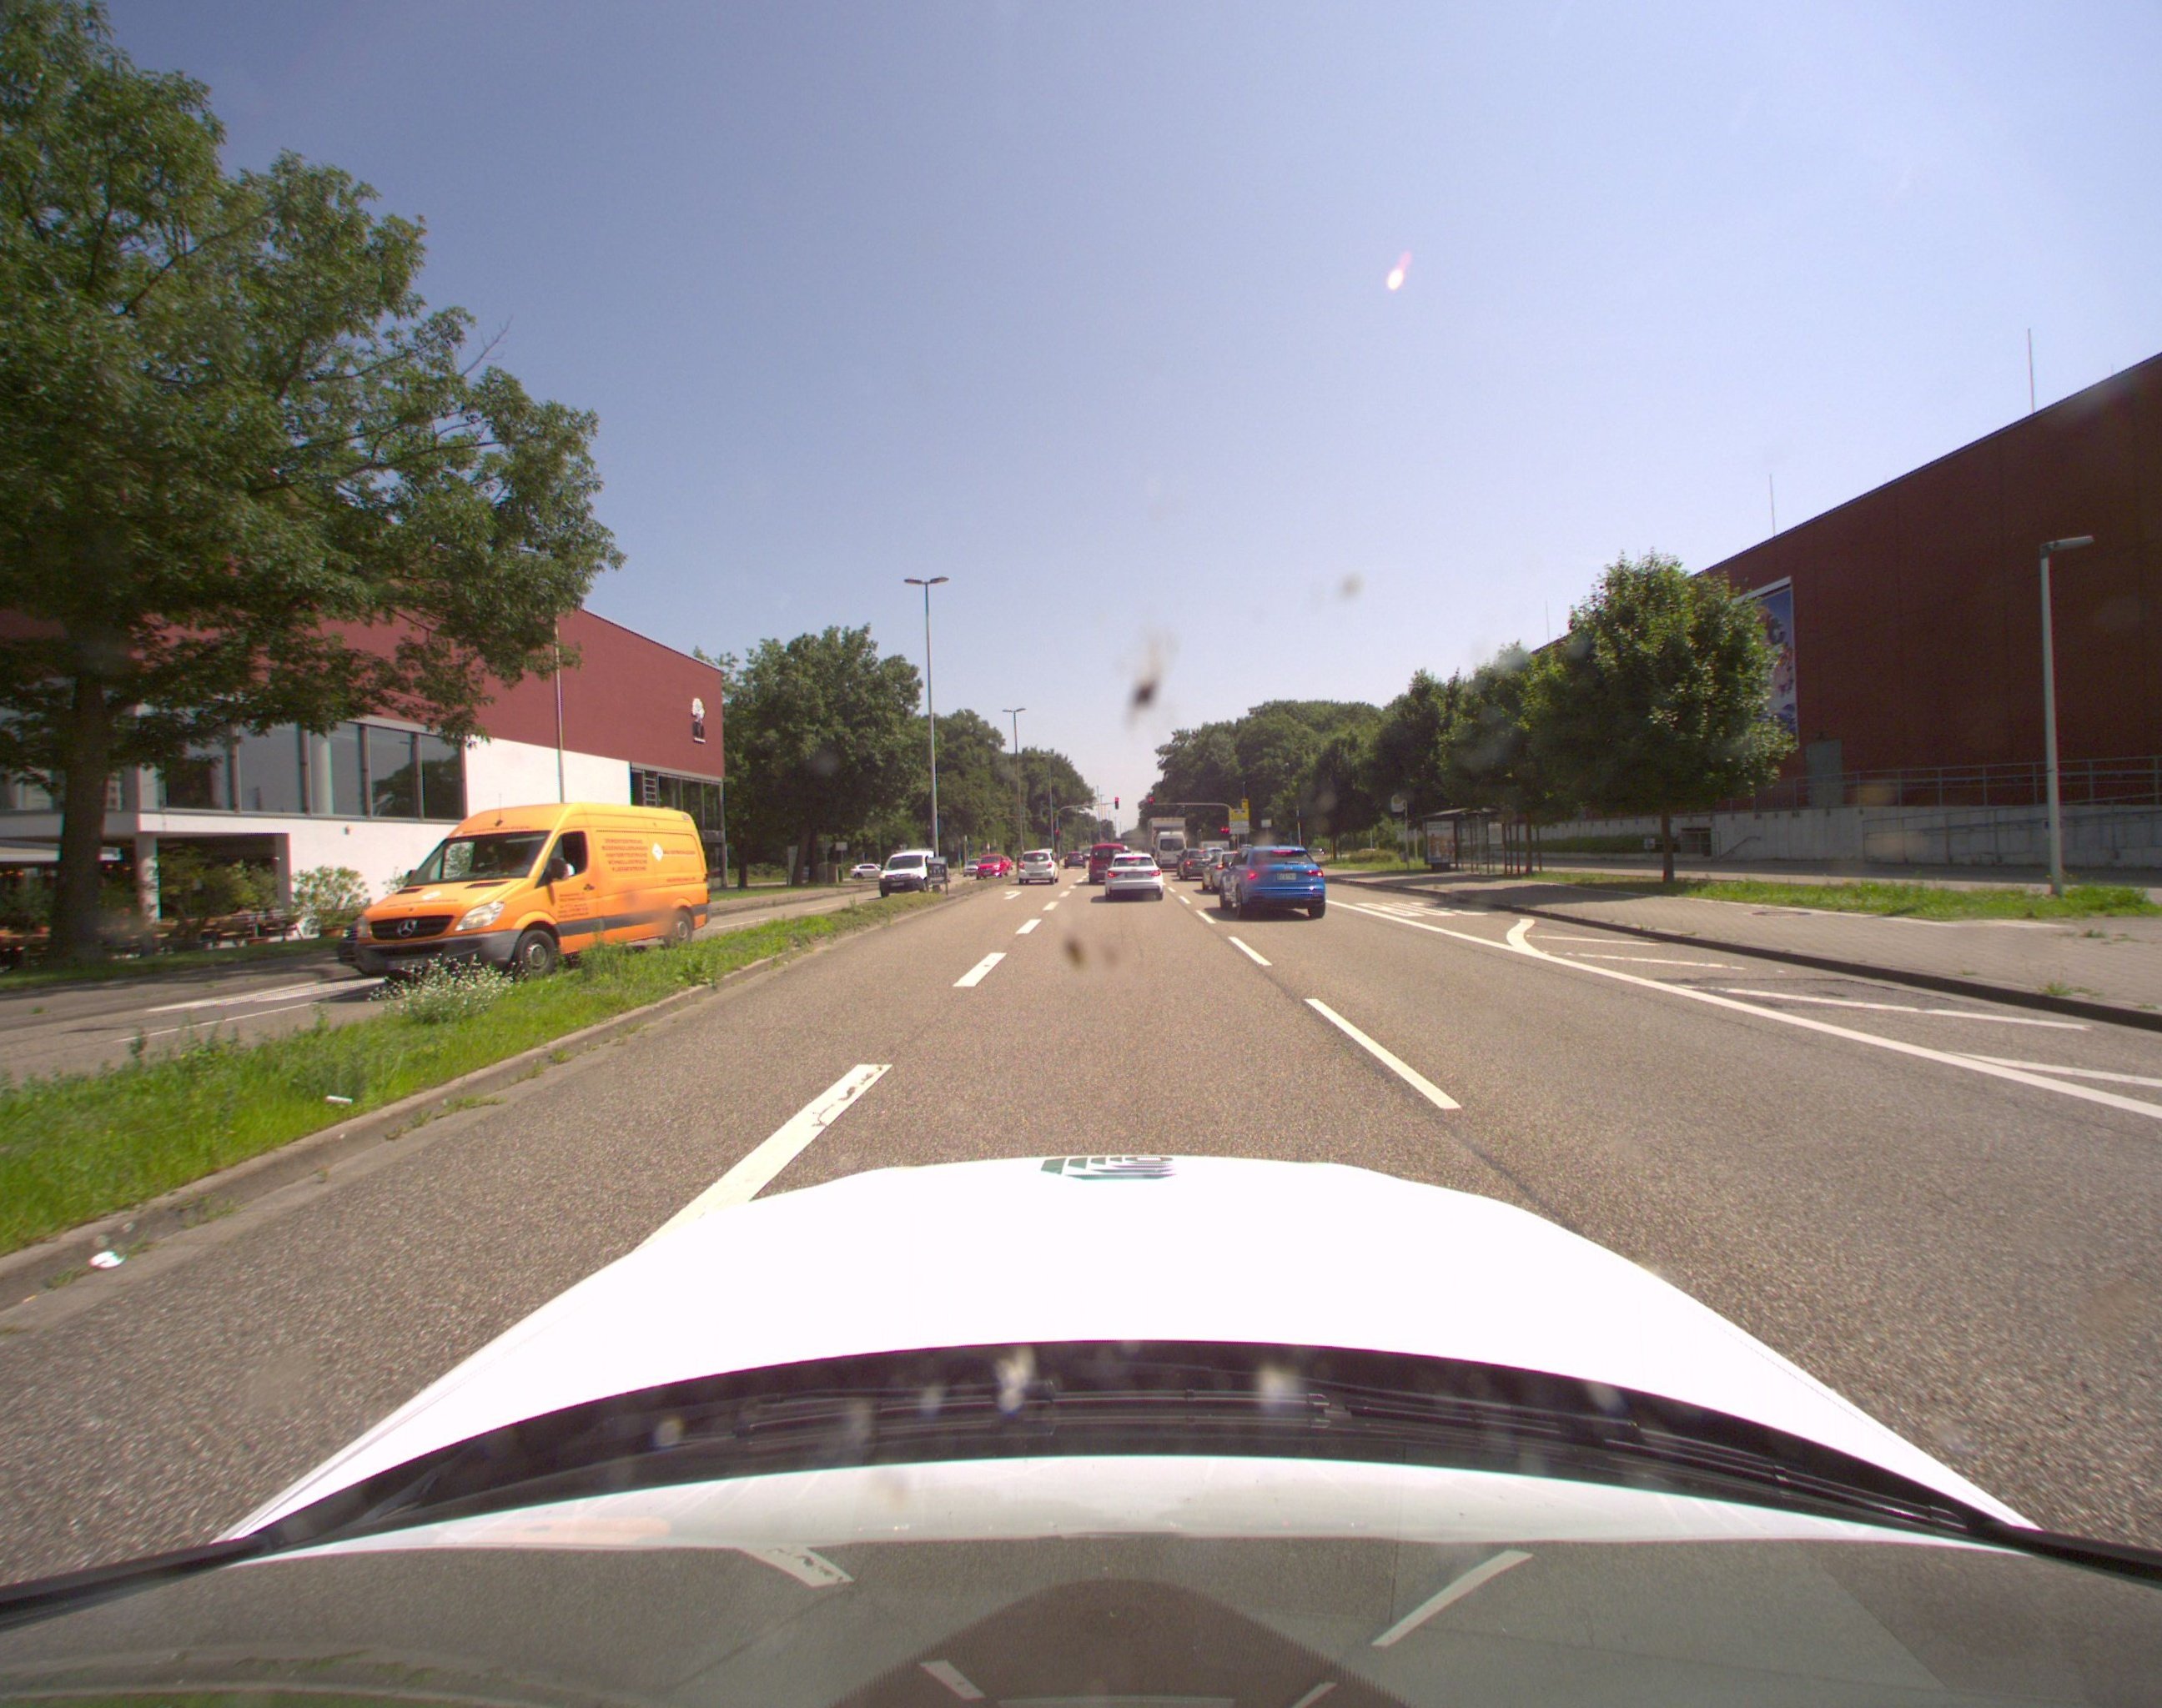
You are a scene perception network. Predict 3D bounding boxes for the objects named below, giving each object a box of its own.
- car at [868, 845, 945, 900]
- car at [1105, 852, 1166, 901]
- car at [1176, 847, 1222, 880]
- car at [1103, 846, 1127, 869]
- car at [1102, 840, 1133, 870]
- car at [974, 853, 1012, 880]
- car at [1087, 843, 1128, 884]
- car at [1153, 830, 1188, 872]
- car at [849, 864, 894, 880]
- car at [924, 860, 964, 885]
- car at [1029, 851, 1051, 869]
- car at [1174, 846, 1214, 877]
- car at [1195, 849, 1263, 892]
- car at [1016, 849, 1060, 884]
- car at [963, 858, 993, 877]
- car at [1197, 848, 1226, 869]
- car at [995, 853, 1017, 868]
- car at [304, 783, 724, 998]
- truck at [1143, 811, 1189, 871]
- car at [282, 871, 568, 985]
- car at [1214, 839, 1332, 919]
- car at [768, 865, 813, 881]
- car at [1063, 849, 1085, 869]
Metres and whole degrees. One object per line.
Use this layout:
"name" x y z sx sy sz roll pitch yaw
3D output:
"car" -6.939 0.670 32.906 1.845 1.905 4.428 -5 0 2
"car" 1.640 0.656 25.620 1.705 1.386 4.093 -1 0 1
"car" 5.675 0.438 39.439 1.705 1.478 4.093 1 0 1
"car" 2.511 0.280 61.475 1.705 1.631 4.093 -1 0 1
"car" 2.138 0.054 48.439 1.705 1.631 4.093 -1 0 1
"car" -5.811 0.797 54.189 1.742 1.569 4.156 -5 0 2
"car" 1.184 0.406 37.073 1.705 1.748 4.093 -1 0 1
"car" 6.027 -0.206 55.413 2.023 2.644 4.848 -1 0 2
"car" -22.272 1.919 86.576 4.364 1.681 1.807 -1 -1 -5
"car" -9.160 1.201 54.686 1.742 1.451 4.136 -5 0 2
"car" -4.803 0.697 95.694 1.986 1.945 4.910 -4 0 2
"car" 6.256 0.410 45.330 1.705 1.593 4.093 -1 0 1
"car" 5.084 0.527 28.429 1.705 1.362 4.093 0 0 1
"car" -1.970 0.556 38.348 1.705 1.492 4.093 -1 0 1
"car" -8.618 1.115 68.373 1.771 1.404 4.361 -5 0 2
"car" 10.338 0.326 64.916 1.705 1.546 4.093 -1 0 1
"car" -7.883 0.670 85.888 1.698 1.452 3.894 -5 0 3
"car" -8.475 0.441 13.282 2.256 2.567 6.061 -4 0 2
"truck" 6.793 -0.966 66.652 3.075 4.434 11.589 -1 0 3
"car" -11.948 1.246 15.289 1.709 1.603 4.216 -5 0 2
"car" 4.309 0.501 18.960 1.830 1.596 4.402 -2 0 2
"car" -31.960 2.074 89.731 4.368 1.681 1.805 0 -1 -9
"car" -0.568 0.424 70.091 1.768 1.641 4.038 -1 0 1
